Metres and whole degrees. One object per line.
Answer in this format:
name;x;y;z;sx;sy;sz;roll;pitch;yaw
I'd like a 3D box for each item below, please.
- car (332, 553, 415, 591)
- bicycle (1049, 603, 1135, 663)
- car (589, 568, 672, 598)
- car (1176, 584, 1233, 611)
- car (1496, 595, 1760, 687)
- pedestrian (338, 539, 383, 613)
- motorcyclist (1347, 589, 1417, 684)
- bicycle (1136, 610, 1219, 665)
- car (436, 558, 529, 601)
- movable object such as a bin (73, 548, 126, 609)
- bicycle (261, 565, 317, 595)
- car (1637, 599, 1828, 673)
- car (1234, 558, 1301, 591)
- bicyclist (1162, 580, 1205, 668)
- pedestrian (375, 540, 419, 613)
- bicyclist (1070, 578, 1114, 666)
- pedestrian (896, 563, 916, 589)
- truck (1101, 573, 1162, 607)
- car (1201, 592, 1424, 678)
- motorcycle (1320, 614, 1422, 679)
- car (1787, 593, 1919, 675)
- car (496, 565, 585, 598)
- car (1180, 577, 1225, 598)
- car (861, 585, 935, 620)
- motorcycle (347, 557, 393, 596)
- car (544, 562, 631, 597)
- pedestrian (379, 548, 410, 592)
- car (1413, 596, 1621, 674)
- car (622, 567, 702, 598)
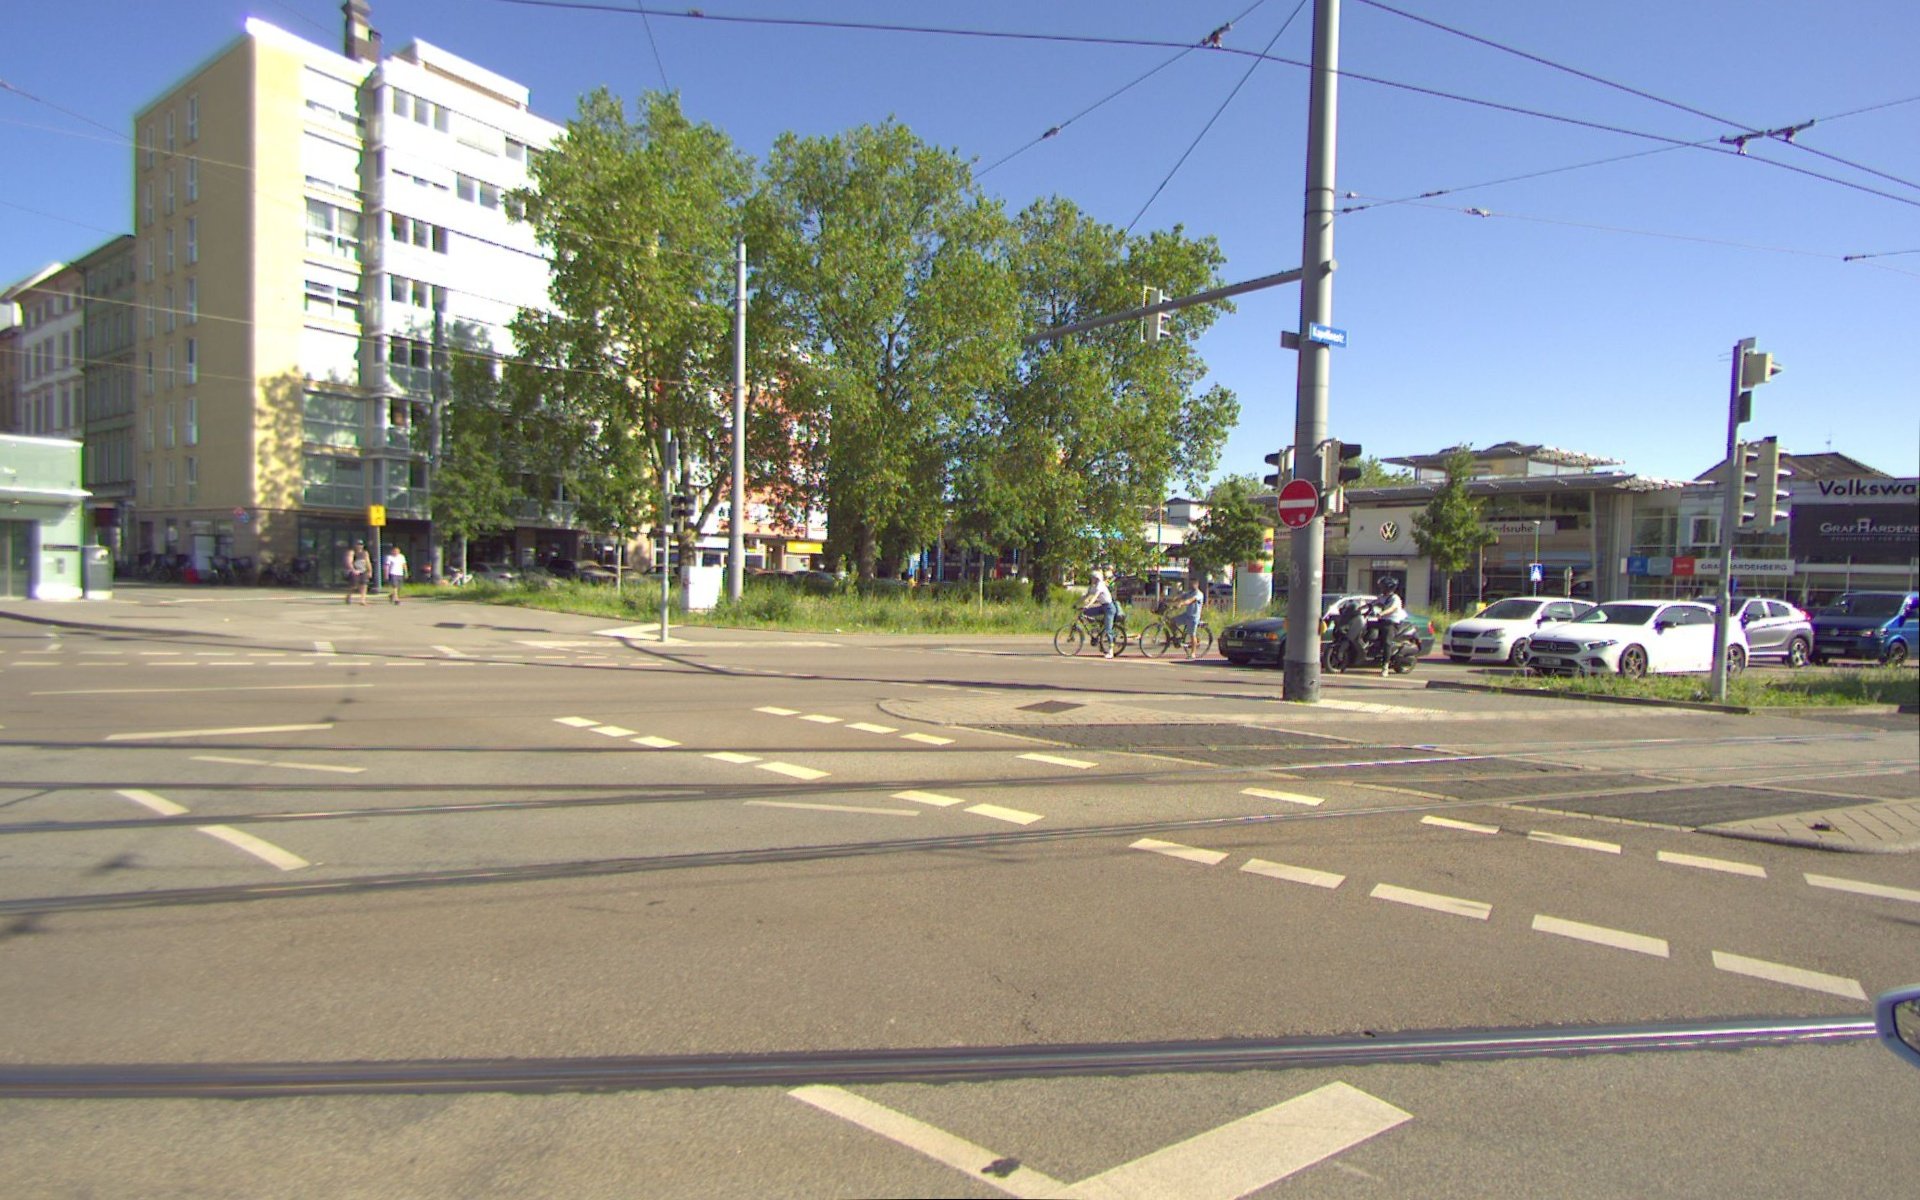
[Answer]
car;-25.156;-1.213;43.069;3.936;1.519;1.736;3;3;37
bicycle;2.746;0.676;20.856;1.728;1.200;0.536;0;2;-22
car;-17.154;-0.883;52.293;3.929;1.408;1.996;3;2;30
car;18.979;-0.225;77.960;1.978;1.780;3.963;1;3;-32
car;12.396;0.755;18.633;4.474;1.451;1.799;2;3;-22
pedestrian;-17.253;-0.691;28.918;0.845;2.057;0.865;6;4;41
motorcyclist;7.349;0.636;17.504;0.929;1.601;0.584;2;1;-21
bicycle;4.501;0.753;20.776;1.630;1.088;0.536;0;2;-22
car;-22.095;-0.955;46.448;3.928;1.831;1.996;3;2;30
movable object such as a bin;-24.740;-0.619;28.876;0.975;1.656;0.934;5;4;34
bicycle;-28.843;-0.855;43.200;0.609;1.233;1.941;5;3;36
car;18.628;0.864;24.226;4.104;1.599;1.799;2;1;-22
car;21.436;-1.783;70.066;1.985;2.041;3.950;0;4;-42
bicyclist;4.621;0.478;20.792;0.592;1.766;0.573;-1;4;-22
pedestrian;-16.512;-0.686;29.471;0.845;2.057;0.865;6;4;41
bicyclist;2.737;0.449;20.833;0.668;1.766;0.573;0;4;-21
pedestrian;-4.312;-1.918;80.043;1.088;2.041;1.176;4;3;26
truck;12.692;-0.763;74.349;1.981;2.251;4.173;1;4;-36
car;6.760;0.663;19.254;3.913;1.499;1.646;1;0;-22
motorcycle;7.125;0.798;17.395;1.721;1.061;0.518;1;1;-21
car;23.858;0.881;26.082;4.102;1.959;1.800;2;1;-20
car;-19.990;-0.907;47.841;3.929;1.408;1.996;3;2;30
car;24.156;-1.244;100.079;3.954;1.823;1.983;1;3;-31
car;-3.359;0.140;54.000;1.986;1.652;3.808;2;1;-43
motorcycle;-21.222;-0.865;36.191;1.275;1.193;2.947;1;3;-28
car;-18.494;-1.037;49.858;3.929;1.586;1.996;3;2;30
pedestrian;-21.499;-1.145;38.200;0.744;1.643;0.653;4;3;16
car;12.036;0.757;21.725;3.942;1.451;1.799;2;3;-22
car;-16.093;-0.945;54.174;3.928;1.519;1.996;3;2;30
